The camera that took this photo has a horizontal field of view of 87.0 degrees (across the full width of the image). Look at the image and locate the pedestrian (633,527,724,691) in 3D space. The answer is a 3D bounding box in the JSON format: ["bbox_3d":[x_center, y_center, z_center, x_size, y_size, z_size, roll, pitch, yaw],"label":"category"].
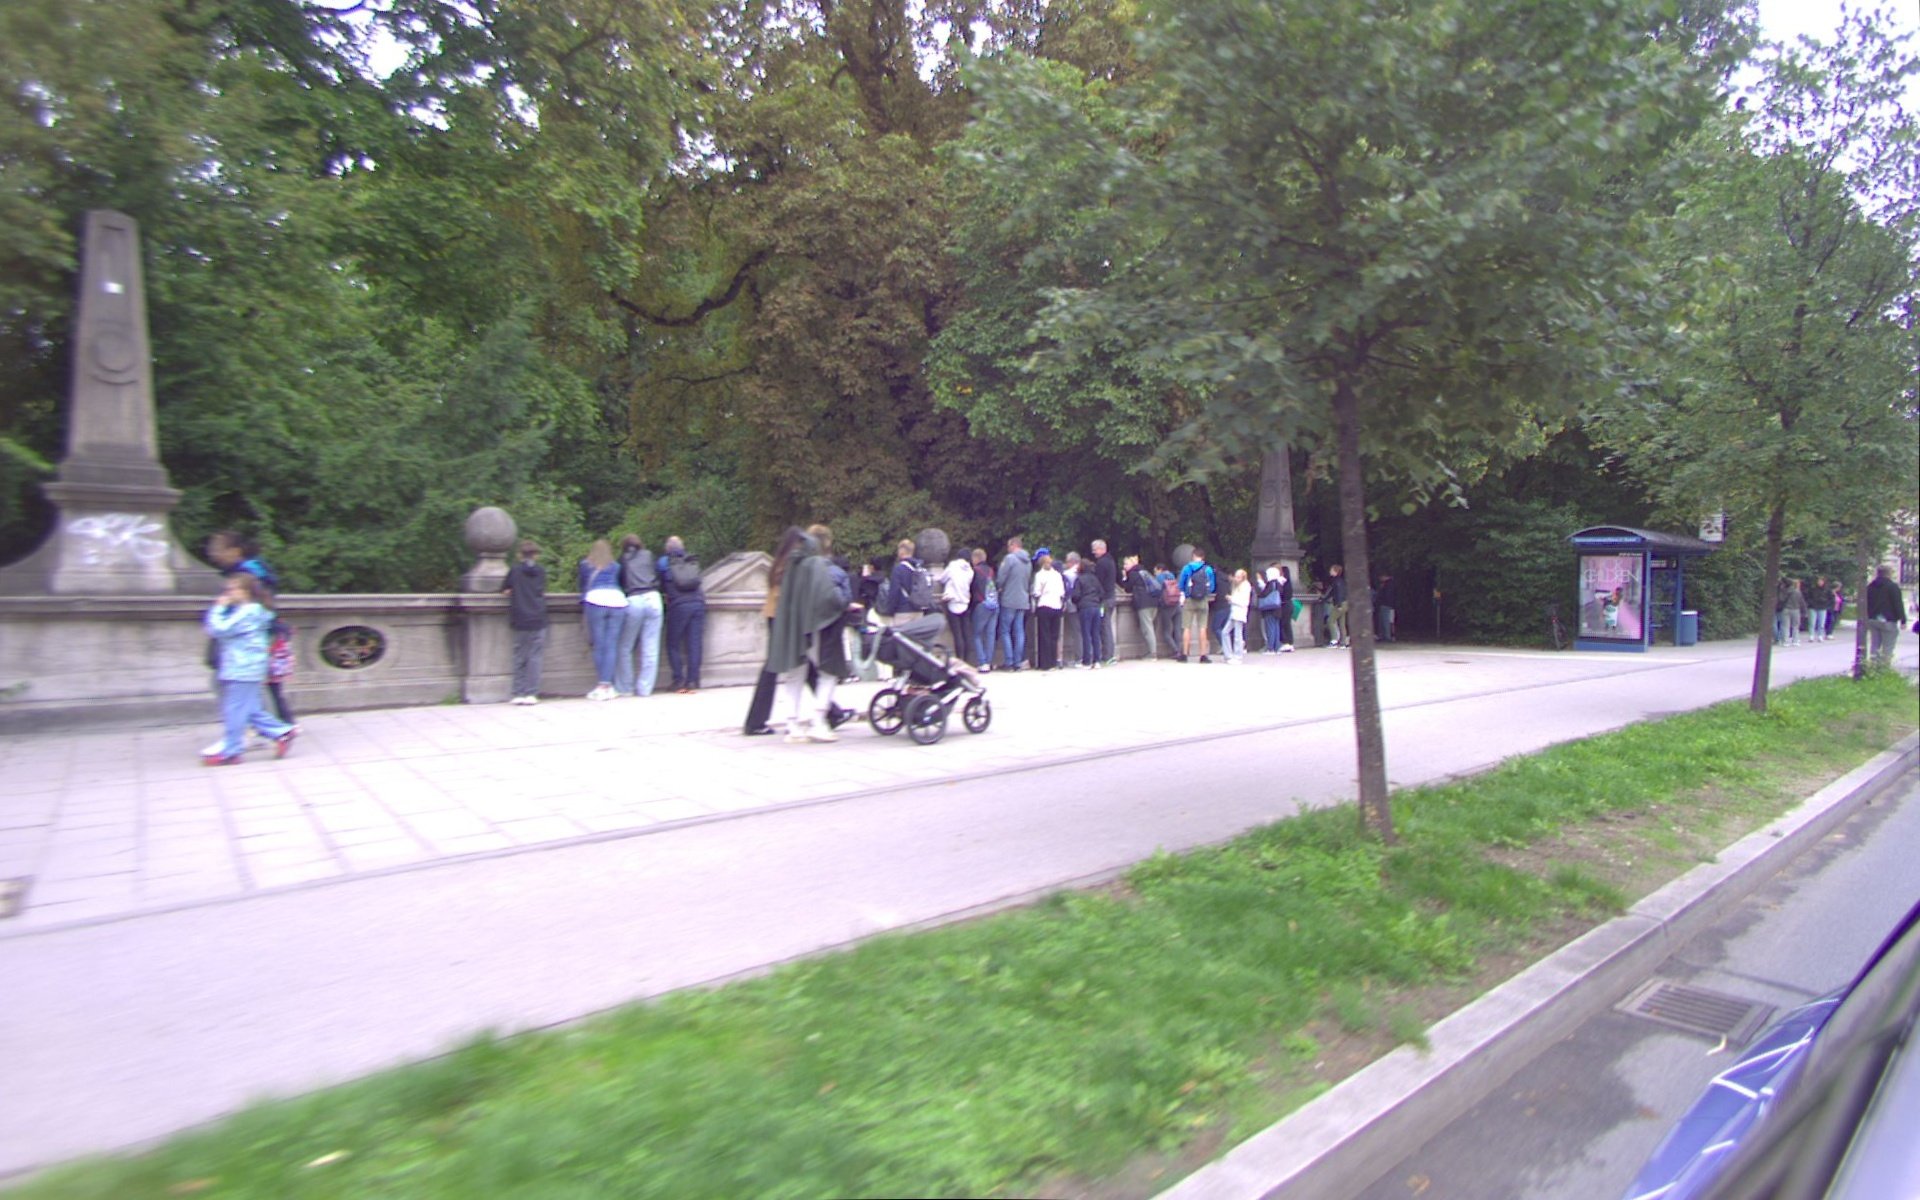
[{"bbox_3d":[-3.098,0.080,11.129,0.715,1.712,0.814,0,1,-38],"label":"pedestrian"}]

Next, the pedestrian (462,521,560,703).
[{"bbox_3d":[-4.455,0.109,10.033,0.715,1.712,0.814,0,0,-38],"label":"pedestrian"}]

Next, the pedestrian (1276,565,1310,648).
[{"bbox_3d":[6.224,0.111,18.921,0.434,1.526,0.421,0,0,-38],"label":"pedestrian"}]

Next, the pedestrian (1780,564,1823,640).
[{"bbox_3d":[20.595,0.049,24.771,0.627,1.831,0.709,0,0,-40],"label":"pedestrian"}]

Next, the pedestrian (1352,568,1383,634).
[{"bbox_3d":[11.204,0.015,27.841,0.522,1.790,0.639,0,0,-9],"label":"pedestrian"}]

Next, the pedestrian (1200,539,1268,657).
[{"bbox_3d":[4.462,-0.040,16.493,0.715,1.852,0.814,0,0,-38],"label":"pedestrian"}]

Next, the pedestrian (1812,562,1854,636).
[{"bbox_3d":[23.343,-0.038,27.052,0.939,1.939,0.709,0,0,-40],"label":"pedestrian"}]

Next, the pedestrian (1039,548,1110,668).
[{"bbox_3d":[1.695,0.109,15.015,0.661,1.712,0.814,0,0,-37],"label":"pedestrian"}]

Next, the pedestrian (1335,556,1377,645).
[{"bbox_3d":[8.104,0.005,20.718,0.523,1.790,0.638,0,0,-38],"label":"pedestrian"}]

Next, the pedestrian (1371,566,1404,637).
[{"bbox_3d":[10.979,0.034,26.013,0.522,1.790,0.639,0,0,-9],"label":"pedestrian"}]

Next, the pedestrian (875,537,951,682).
[{"bbox_3d":[-0.576,0.110,12.368,0.715,1.712,0.593,0,0,-38],"label":"pedestrian"}]

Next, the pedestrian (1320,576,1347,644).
[{"bbox_3d":[8.494,0.230,23.010,0.434,1.526,0.421,0,0,-38],"label":"pedestrian"}]

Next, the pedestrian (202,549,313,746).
[{"bbox_3d":[-5.040,0.320,7.273,0.636,1.343,0.459,0,0,-35],"label":"pedestrian"}]

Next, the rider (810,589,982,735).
[{"bbox_3d":[-0.533,0.472,8.469,1.220,1.126,0.767,0,0,-35],"label":"rider"}]

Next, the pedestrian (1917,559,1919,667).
[{"bbox_3d":[16.677,0.219,16.938,0.696,1.831,0.639,0,0,-4],"label":"pedestrian"}]

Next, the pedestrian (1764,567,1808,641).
[{"bbox_3d":[20.992,0.085,25.714,0.933,1.831,0.709,0,0,-40],"label":"pedestrian"}]

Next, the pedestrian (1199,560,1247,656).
[{"bbox_3d":[4.620,0.132,17.767,0.523,1.637,0.638,0,0,-38],"label":"pedestrian"}]

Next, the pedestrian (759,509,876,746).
[{"bbox_3d":[-1.106,0.193,7.798,0.636,1.712,0.728,0,0,-35],"label":"pedestrian"}]

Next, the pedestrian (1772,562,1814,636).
[{"bbox_3d":[22.500,-0.035,27.334,0.939,1.939,0.709,0,0,-40],"label":"pedestrian"}]

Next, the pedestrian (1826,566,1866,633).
[{"bbox_3d":[25.214,-0.015,28.798,0.743,1.862,0.752,0,0,-39],"label":"pedestrian"}]

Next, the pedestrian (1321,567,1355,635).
[{"bbox_3d":[10.313,0.020,27.629,0.522,1.790,0.639,4,-1,-9],"label":"pedestrian"}]

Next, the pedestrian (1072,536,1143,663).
[{"bbox_3d":[2.250,-0.016,15.466,0.715,1.875,0.814,0,0,-38],"label":"pedestrian"}]

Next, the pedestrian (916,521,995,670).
[{"bbox_3d":[-0.066,-0.064,13.686,0.715,1.941,0.814,0,0,-38],"label":"pedestrian"}]

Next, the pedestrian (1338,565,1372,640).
[{"bbox_3d":[9.575,0.052,24.547,0.522,1.790,0.639,0,0,-9],"label":"pedestrian"}]

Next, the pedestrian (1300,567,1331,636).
[{"bbox_3d":[9.339,0.033,26.585,0.522,1.790,0.639,0,0,-9],"label":"pedestrian"}]

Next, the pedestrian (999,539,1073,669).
[{"bbox_3d":[1.098,0.047,14.640,0.715,1.813,0.814,0,0,-38],"label":"pedestrian"}]

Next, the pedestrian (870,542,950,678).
[{"bbox_3d":[-0.659,0.120,13.244,0.715,1.712,0.814,0,0,-38],"label":"pedestrian"}]

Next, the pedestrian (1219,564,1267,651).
[{"bbox_3d":[5.036,0.128,18.042,0.523,1.526,0.638,0,0,-38],"label":"pedestrian"}]

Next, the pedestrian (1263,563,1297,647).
[{"bbox_3d":[5.894,0.081,18.642,0.434,1.526,0.421,0,0,-38],"label":"pedestrian"}]

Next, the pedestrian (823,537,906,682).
[{"bbox_3d":[-1.211,0.111,12.790,0.715,1.761,0.814,0,0,-38],"label":"pedestrian"}]

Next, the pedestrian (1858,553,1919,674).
[{"bbox_3d":[15.150,0.212,16.344,0.533,1.904,0.806,0,0,-4],"label":"pedestrian"}]

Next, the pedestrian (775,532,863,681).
[{"bbox_3d":[-1.697,0.052,12.142,0.715,1.711,0.814,0,2,-38],"label":"pedestrian"}]

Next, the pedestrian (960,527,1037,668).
[{"bbox_3d":[0.536,-0.038,14.171,0.715,1.898,0.814,0,0,-38],"label":"pedestrian"}]

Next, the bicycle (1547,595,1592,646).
[{"bbox_3d":[13.287,0.425,22.048,1.549,1.073,0.393,0,0,-41],"label":"bicycle"}]

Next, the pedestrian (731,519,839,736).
[{"bbox_3d":[-1.468,0.209,8.459,0.636,1.712,0.728,0,0,-35],"label":"pedestrian"}]

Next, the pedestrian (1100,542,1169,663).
[{"bbox_3d":[2.780,0.030,16.155,0.715,1.875,0.814,0,0,-38],"label":"pedestrian"}]

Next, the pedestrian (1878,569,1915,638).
[{"bbox_3d":[25.924,0.086,28.008,0.629,1.862,0.672,0,0,-39],"label":"pedestrian"}]

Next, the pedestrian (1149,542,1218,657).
[{"bbox_3d":[3.591,-0.008,16.262,0.715,1.790,0.814,0,0,-38],"label":"pedestrian"}]

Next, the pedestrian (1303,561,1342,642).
[{"bbox_3d":[8.122,0.031,22.690,0.523,1.790,0.638,0,0,-38],"label":"pedestrian"}]

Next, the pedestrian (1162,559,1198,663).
[{"bbox_3d":[3.737,0.183,17.183,0.435,1.725,0.421,0,0,-40],"label":"pedestrian"}]

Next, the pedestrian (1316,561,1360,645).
[{"bbox_3d":[7.551,0.058,20.220,0.523,1.647,0.638,0,0,-38],"label":"pedestrian"}]

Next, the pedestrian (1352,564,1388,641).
[{"bbox_3d":[9.673,0.058,23.897,0.522,1.790,0.639,0,0,-9],"label":"pedestrian"}]

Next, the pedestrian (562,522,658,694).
[{"bbox_3d":[-3.678,0.056,10.610,0.715,1.711,0.814,0,2,-38],"label":"pedestrian"}]

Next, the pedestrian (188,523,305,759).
[{"bbox_3d":[-4.941,0.264,7.026,0.636,1.547,0.551,0,0,-35],"label":"pedestrian"}]

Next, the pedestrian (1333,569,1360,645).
[{"bbox_3d":[8.898,0.160,23.302,0.434,1.725,0.421,0,0,-38],"label":"pedestrian"}]

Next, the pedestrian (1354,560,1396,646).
[{"bbox_3d":[8.787,0.058,21.442,0.523,1.790,0.638,0,0,-38],"label":"pedestrian"}]

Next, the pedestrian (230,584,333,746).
[{"bbox_3d":[-5.140,0.462,7.674,0.636,1.167,0.459,0,0,-35],"label":"pedestrian"}]

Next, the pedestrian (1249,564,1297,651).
[{"bbox_3d":[5.616,0.125,18.189,0.523,1.526,0.638,0,0,-38],"label":"pedestrian"}]
